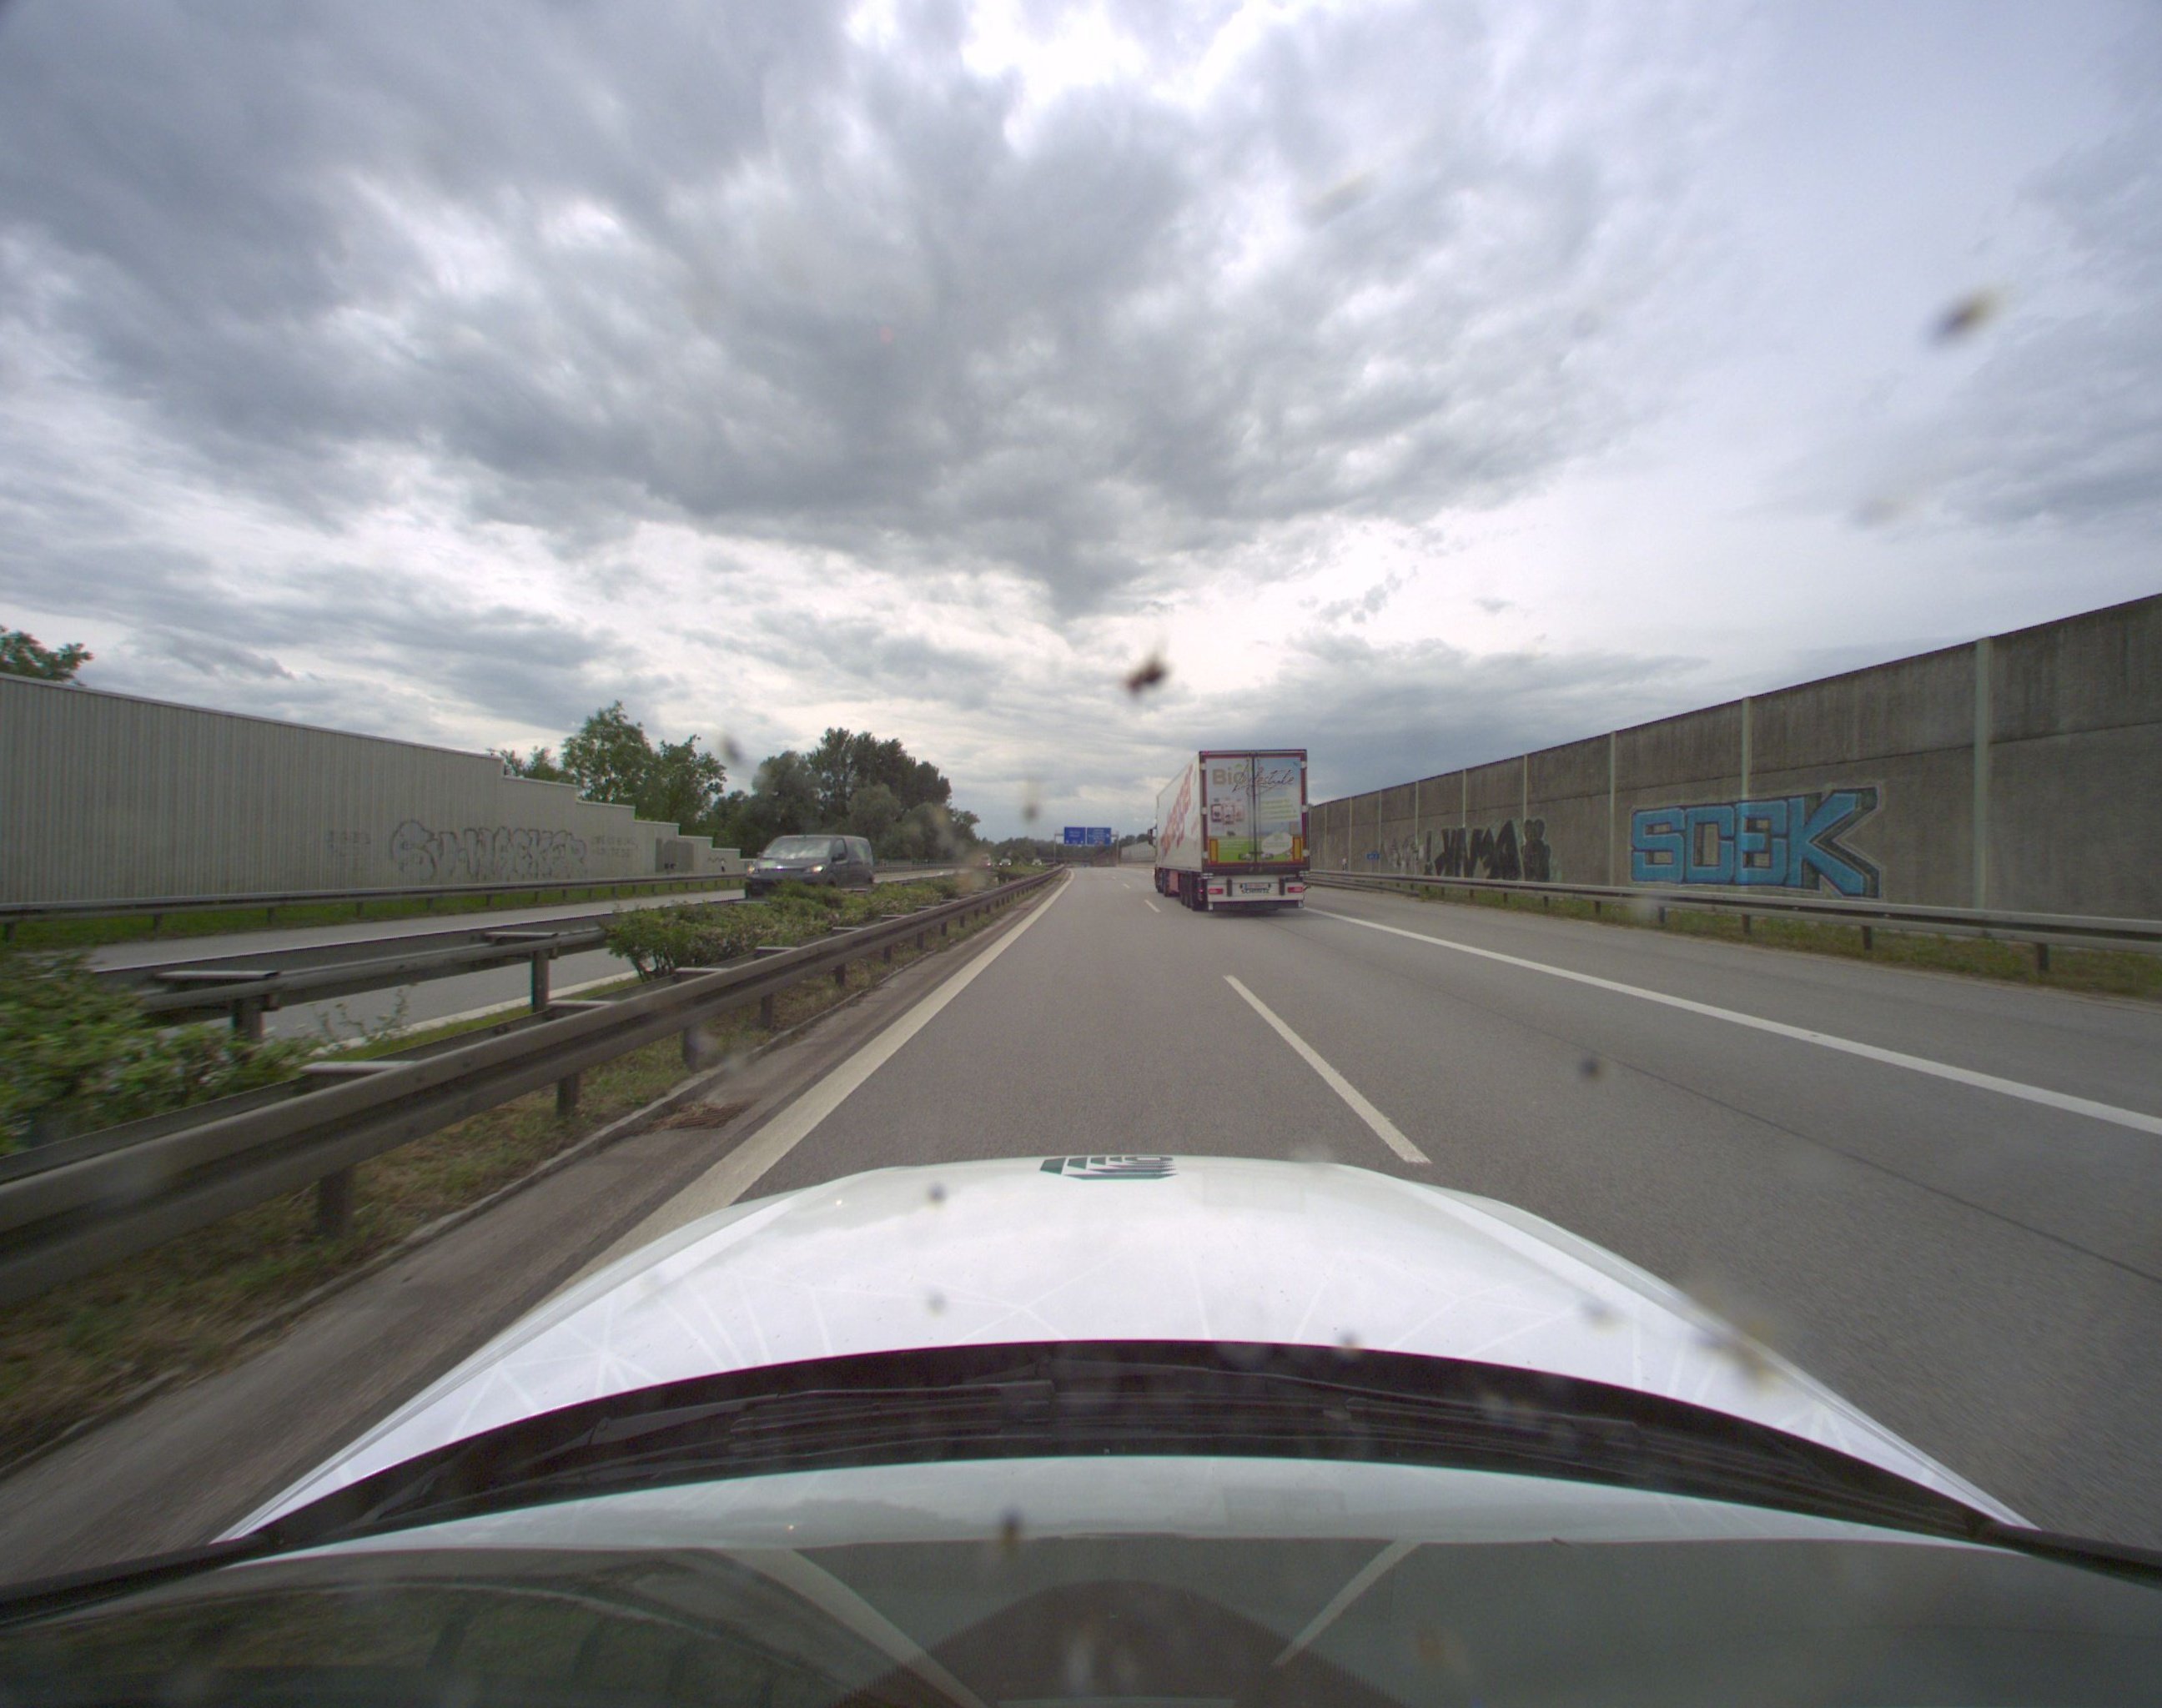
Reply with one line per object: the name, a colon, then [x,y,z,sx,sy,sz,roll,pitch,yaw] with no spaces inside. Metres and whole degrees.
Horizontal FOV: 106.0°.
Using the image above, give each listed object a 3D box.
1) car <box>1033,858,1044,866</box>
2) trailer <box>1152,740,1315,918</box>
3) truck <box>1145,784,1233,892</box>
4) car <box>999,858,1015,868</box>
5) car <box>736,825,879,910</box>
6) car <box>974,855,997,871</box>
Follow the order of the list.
car: [-7.903,1.494,153.091,1.835,1.531,4.834,-1,0,0]
trailer: [4.218,-0.554,26.320,2.783,4.175,14.104,-1,0,1]
truck: [4.217,-0.593,32.963,2.747,3.959,5.675,-1,0,-1]
car: [-11.240,1.326,123.319,1.964,1.403,4.708,-1,0,0]
car: [-6.725,0.304,20.632,1.986,1.886,4.556,-1,0,1]
car: [-10.878,0.993,93.091,1.964,1.761,4.943,0,0,0]
